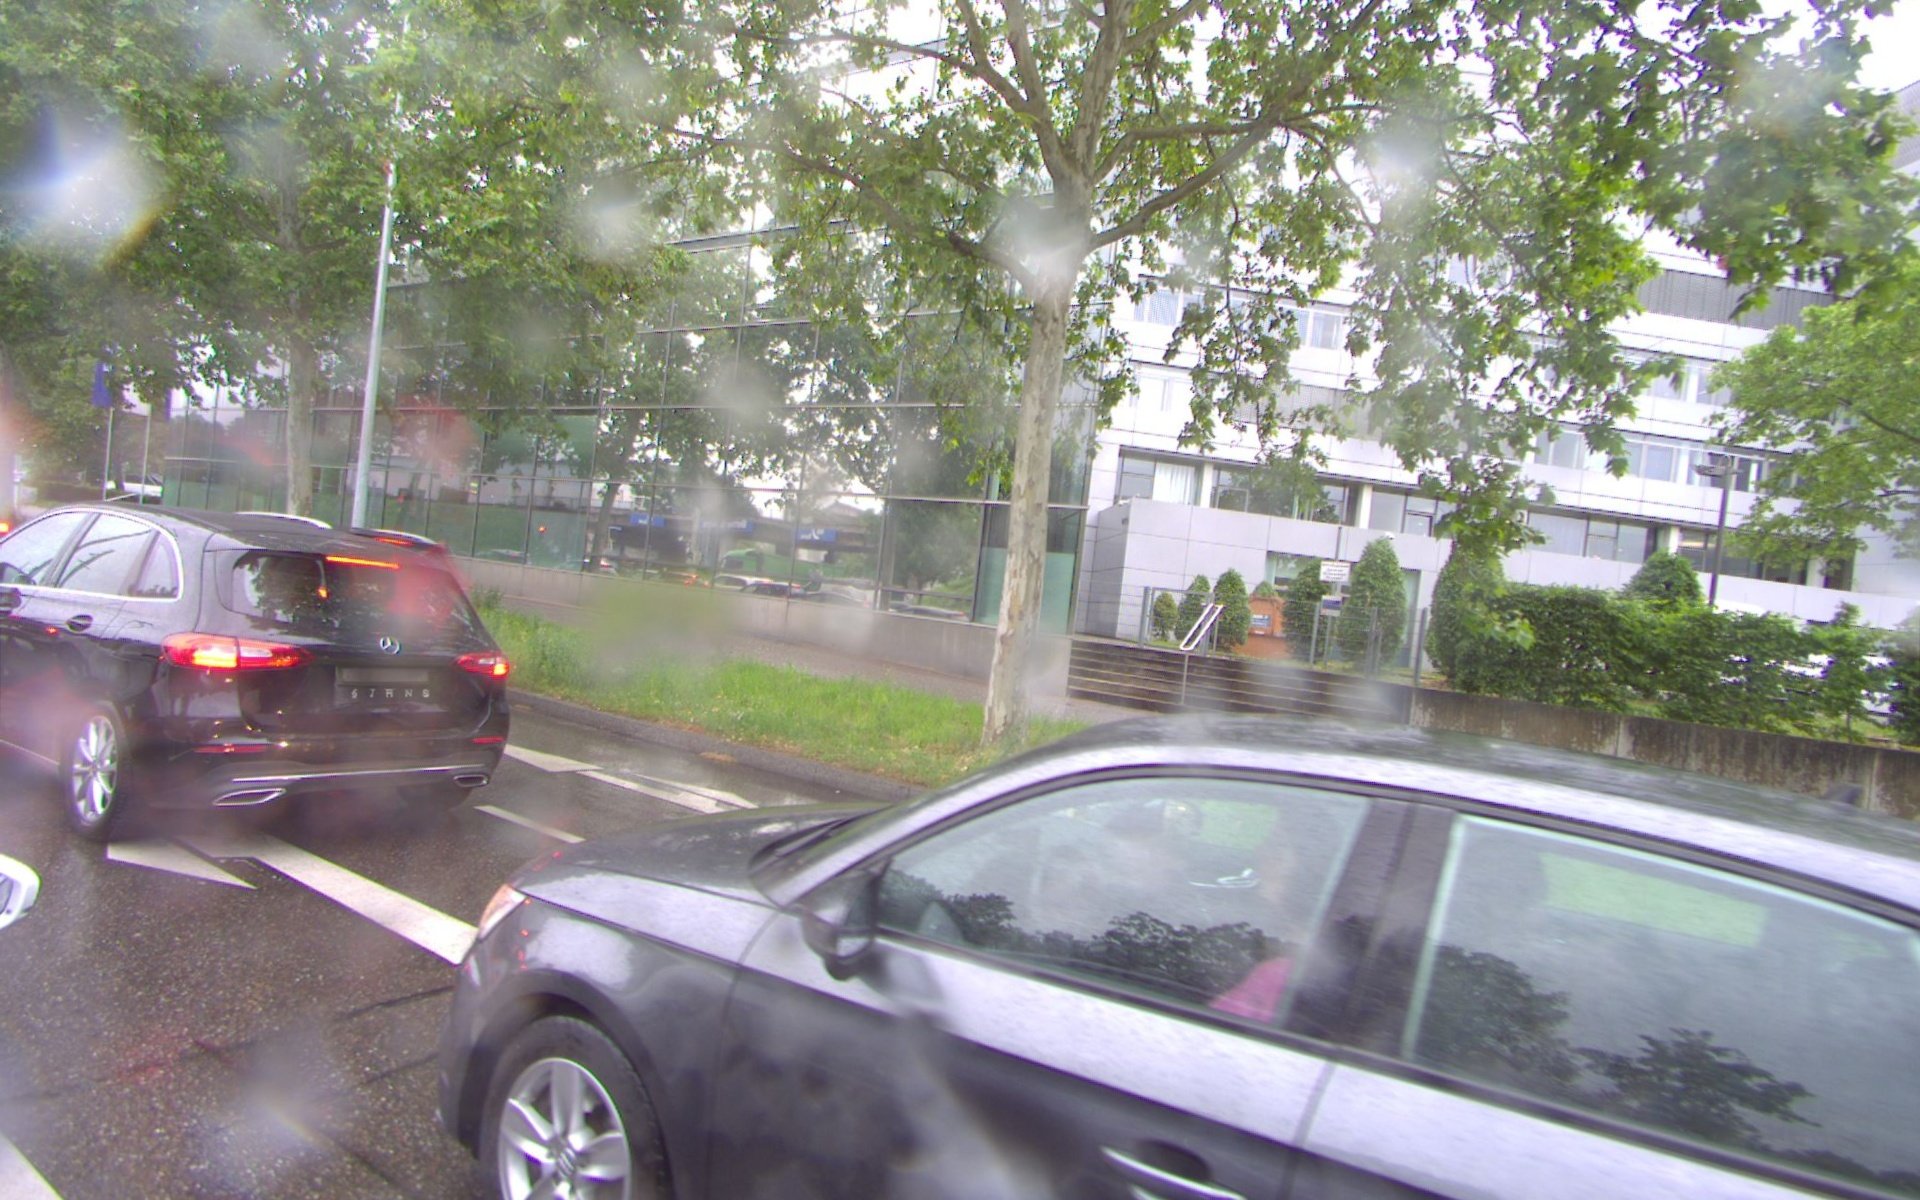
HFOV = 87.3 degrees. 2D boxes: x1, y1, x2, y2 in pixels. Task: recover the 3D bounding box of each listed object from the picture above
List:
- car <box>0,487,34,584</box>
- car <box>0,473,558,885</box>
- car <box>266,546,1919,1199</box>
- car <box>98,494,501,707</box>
[{"bbox_3d":[-17.849,-1.324,17.152,4.042,1.554,1.843,6,-2,31],"label":"car"},{"bbox_3d":[-4.418,0.220,5.792,3.932,1.568,1.712,8,0,30],"label":"car"},{"bbox_3d":[0.577,0.878,2.332,3.932,1.469,1.998,6,-2,30],"label":"car"},{"bbox_3d":[-7.168,-0.023,10.841,4.120,1.746,1.860,6,-1,30],"label":"car"}]
